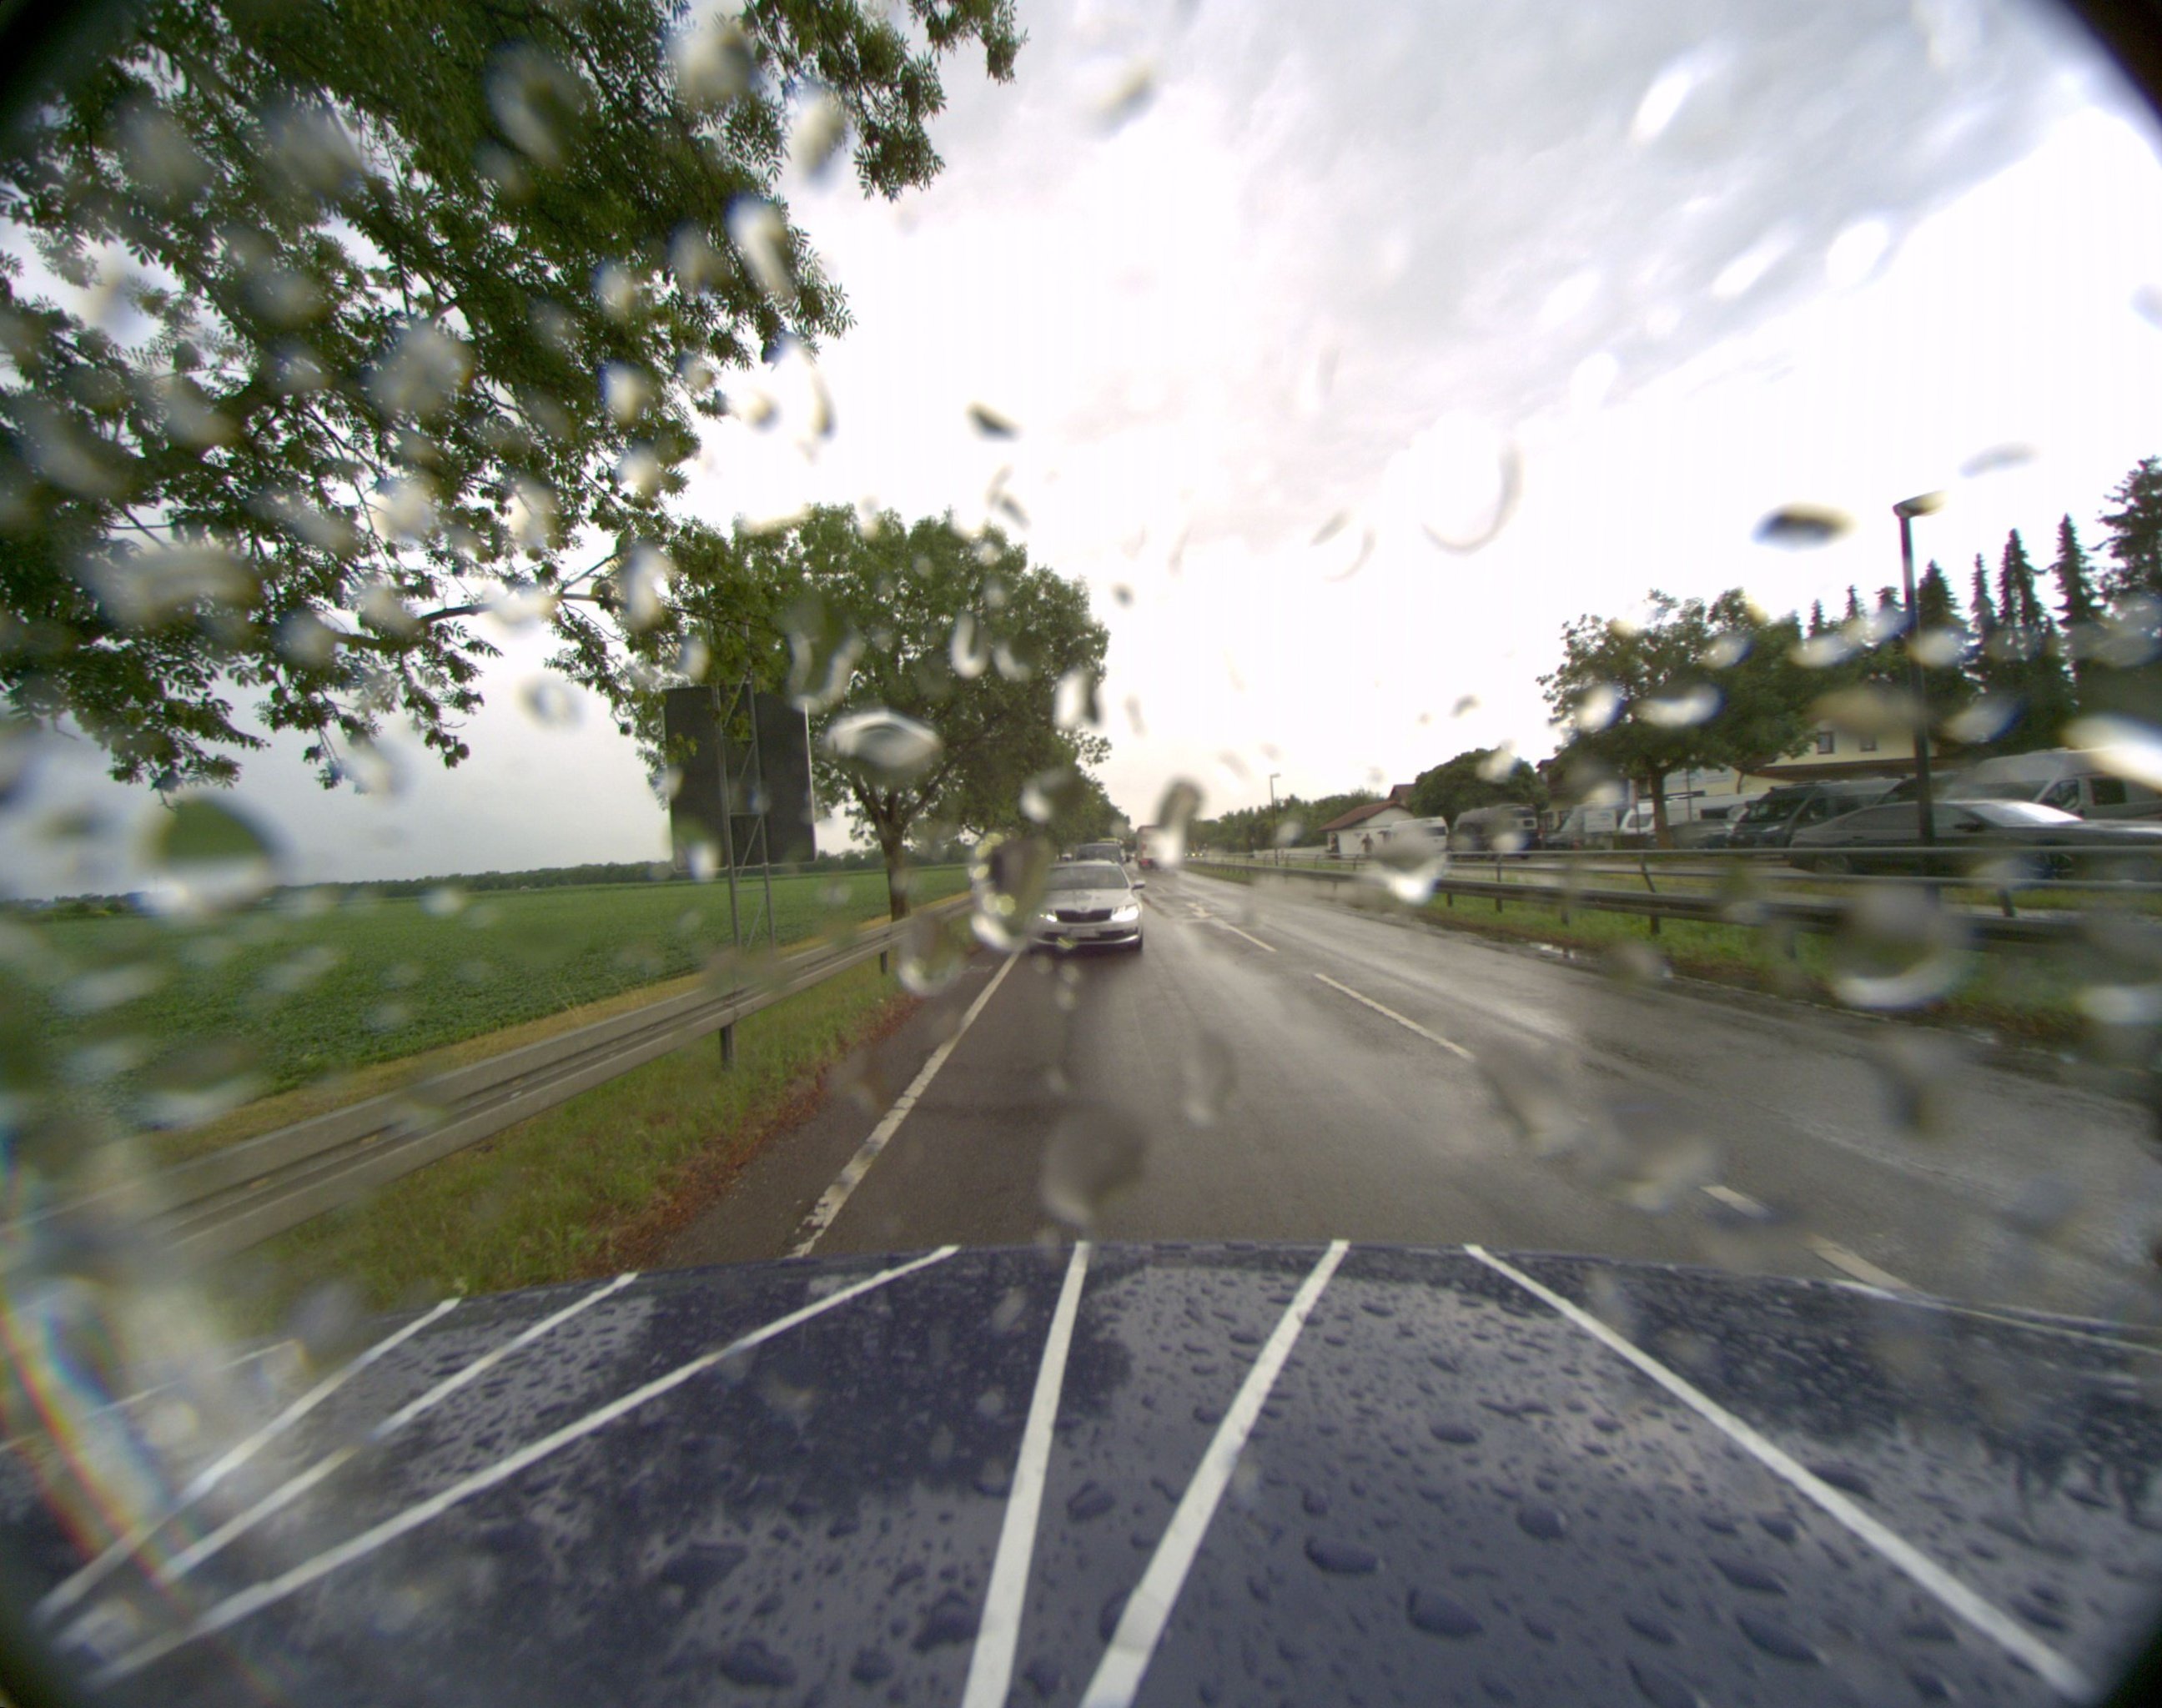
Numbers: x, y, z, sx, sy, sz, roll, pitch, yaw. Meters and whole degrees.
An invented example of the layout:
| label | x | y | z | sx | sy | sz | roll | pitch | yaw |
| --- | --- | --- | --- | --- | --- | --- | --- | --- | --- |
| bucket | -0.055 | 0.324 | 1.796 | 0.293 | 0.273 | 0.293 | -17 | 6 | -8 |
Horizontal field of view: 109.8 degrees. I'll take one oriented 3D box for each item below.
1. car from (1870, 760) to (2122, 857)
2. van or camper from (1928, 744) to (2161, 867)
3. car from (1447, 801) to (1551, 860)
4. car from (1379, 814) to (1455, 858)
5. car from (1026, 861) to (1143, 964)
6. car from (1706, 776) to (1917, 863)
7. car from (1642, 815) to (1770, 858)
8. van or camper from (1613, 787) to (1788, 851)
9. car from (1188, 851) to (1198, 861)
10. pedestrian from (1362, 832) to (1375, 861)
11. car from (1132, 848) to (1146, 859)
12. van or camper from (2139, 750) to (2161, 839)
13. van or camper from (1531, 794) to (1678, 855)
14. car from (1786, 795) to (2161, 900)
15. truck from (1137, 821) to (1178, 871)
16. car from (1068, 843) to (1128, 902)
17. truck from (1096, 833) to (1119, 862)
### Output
| label | x | y | z | sx | sy | sz | roll | pitch | yaw |
| --- | --- | --- | --- | --- | --- | --- | --- | --- | --- |
| car | 27.113 | -1.299 | 22.632 | 5.105 | 2.445 | 2.000 | -4 | 0 | -2 |
| van or camper | 25.113 | -1.221 | 18.812 | 5.890 | 2.662 | 2.081 | -4 | 0 | 0 |
| car | 21.861 | -1.181 | 40.072 | 2.389 | 2.747 | 5.573 | -4 | 0 | 1 |
| car | 21.612 | -1.106 | 49.277 | 2.242 | 2.565 | 6.019 | -4 | 0 | 1 |
| car | 0.075 | 0.880 | 13.222 | 1.705 | 1.438 | 4.000 | -1 | 0 | 1 |
| car | 24.590 | -1.119 | 25.711 | 5.196 | 2.487 | 2.000 | -4 | 0 | -2 |
| car | 25.595 | -0.704 | 31.216 | 3.894 | 1.487 | 1.540 | -4 | 0 | 1 |
| van or camper | 29.694 | -1.622 | 36.596 | 6.239 | 2.576 | 2.562 | -4 | 0 | 0 |
| car | 24.452 | 0.361 | 165.928 | 1.683 | 2.002 | 3.999 | -2 | 1 | 1 |
| pedestrian | 17.054 | -0.457 | 45.089 | 0.516 | 1.701 | 0.650 | -3 | 1 | 9 |
| car | 8.791 | -0.110 | 115.088 | 1.768 | 1.610 | 4.000 | -2 | 0 | 0 |
| van or camper | 34.321 | -1.909 | 21.602 | 5.820 | 2.575 | 2.000 | -4 | 0 | -2 |
| van or camper | 27.977 | -1.519 | 40.776 | 6.068 | 2.785 | 2.434 | -4 | 0 | 0 |
| car | 15.650 | -0.111 | 13.381 | 1.519 | 1.482 | 5.120 | -2 | 0 | -3 |
| truck | 5.761 | -0.582 | 58.463 | 2.582 | 3.432 | 9.557 | -2 | 0 | 3 |
| car | 0.577 | 0.590 | 26.672 | 1.903 | 1.884 | 4.000 | -1 | 0 | 1 |
| truck | 3.559 | -0.815 | 100.936 | 2.751 | 3.547 | 8.387 | -3 | 0 | 2 |
